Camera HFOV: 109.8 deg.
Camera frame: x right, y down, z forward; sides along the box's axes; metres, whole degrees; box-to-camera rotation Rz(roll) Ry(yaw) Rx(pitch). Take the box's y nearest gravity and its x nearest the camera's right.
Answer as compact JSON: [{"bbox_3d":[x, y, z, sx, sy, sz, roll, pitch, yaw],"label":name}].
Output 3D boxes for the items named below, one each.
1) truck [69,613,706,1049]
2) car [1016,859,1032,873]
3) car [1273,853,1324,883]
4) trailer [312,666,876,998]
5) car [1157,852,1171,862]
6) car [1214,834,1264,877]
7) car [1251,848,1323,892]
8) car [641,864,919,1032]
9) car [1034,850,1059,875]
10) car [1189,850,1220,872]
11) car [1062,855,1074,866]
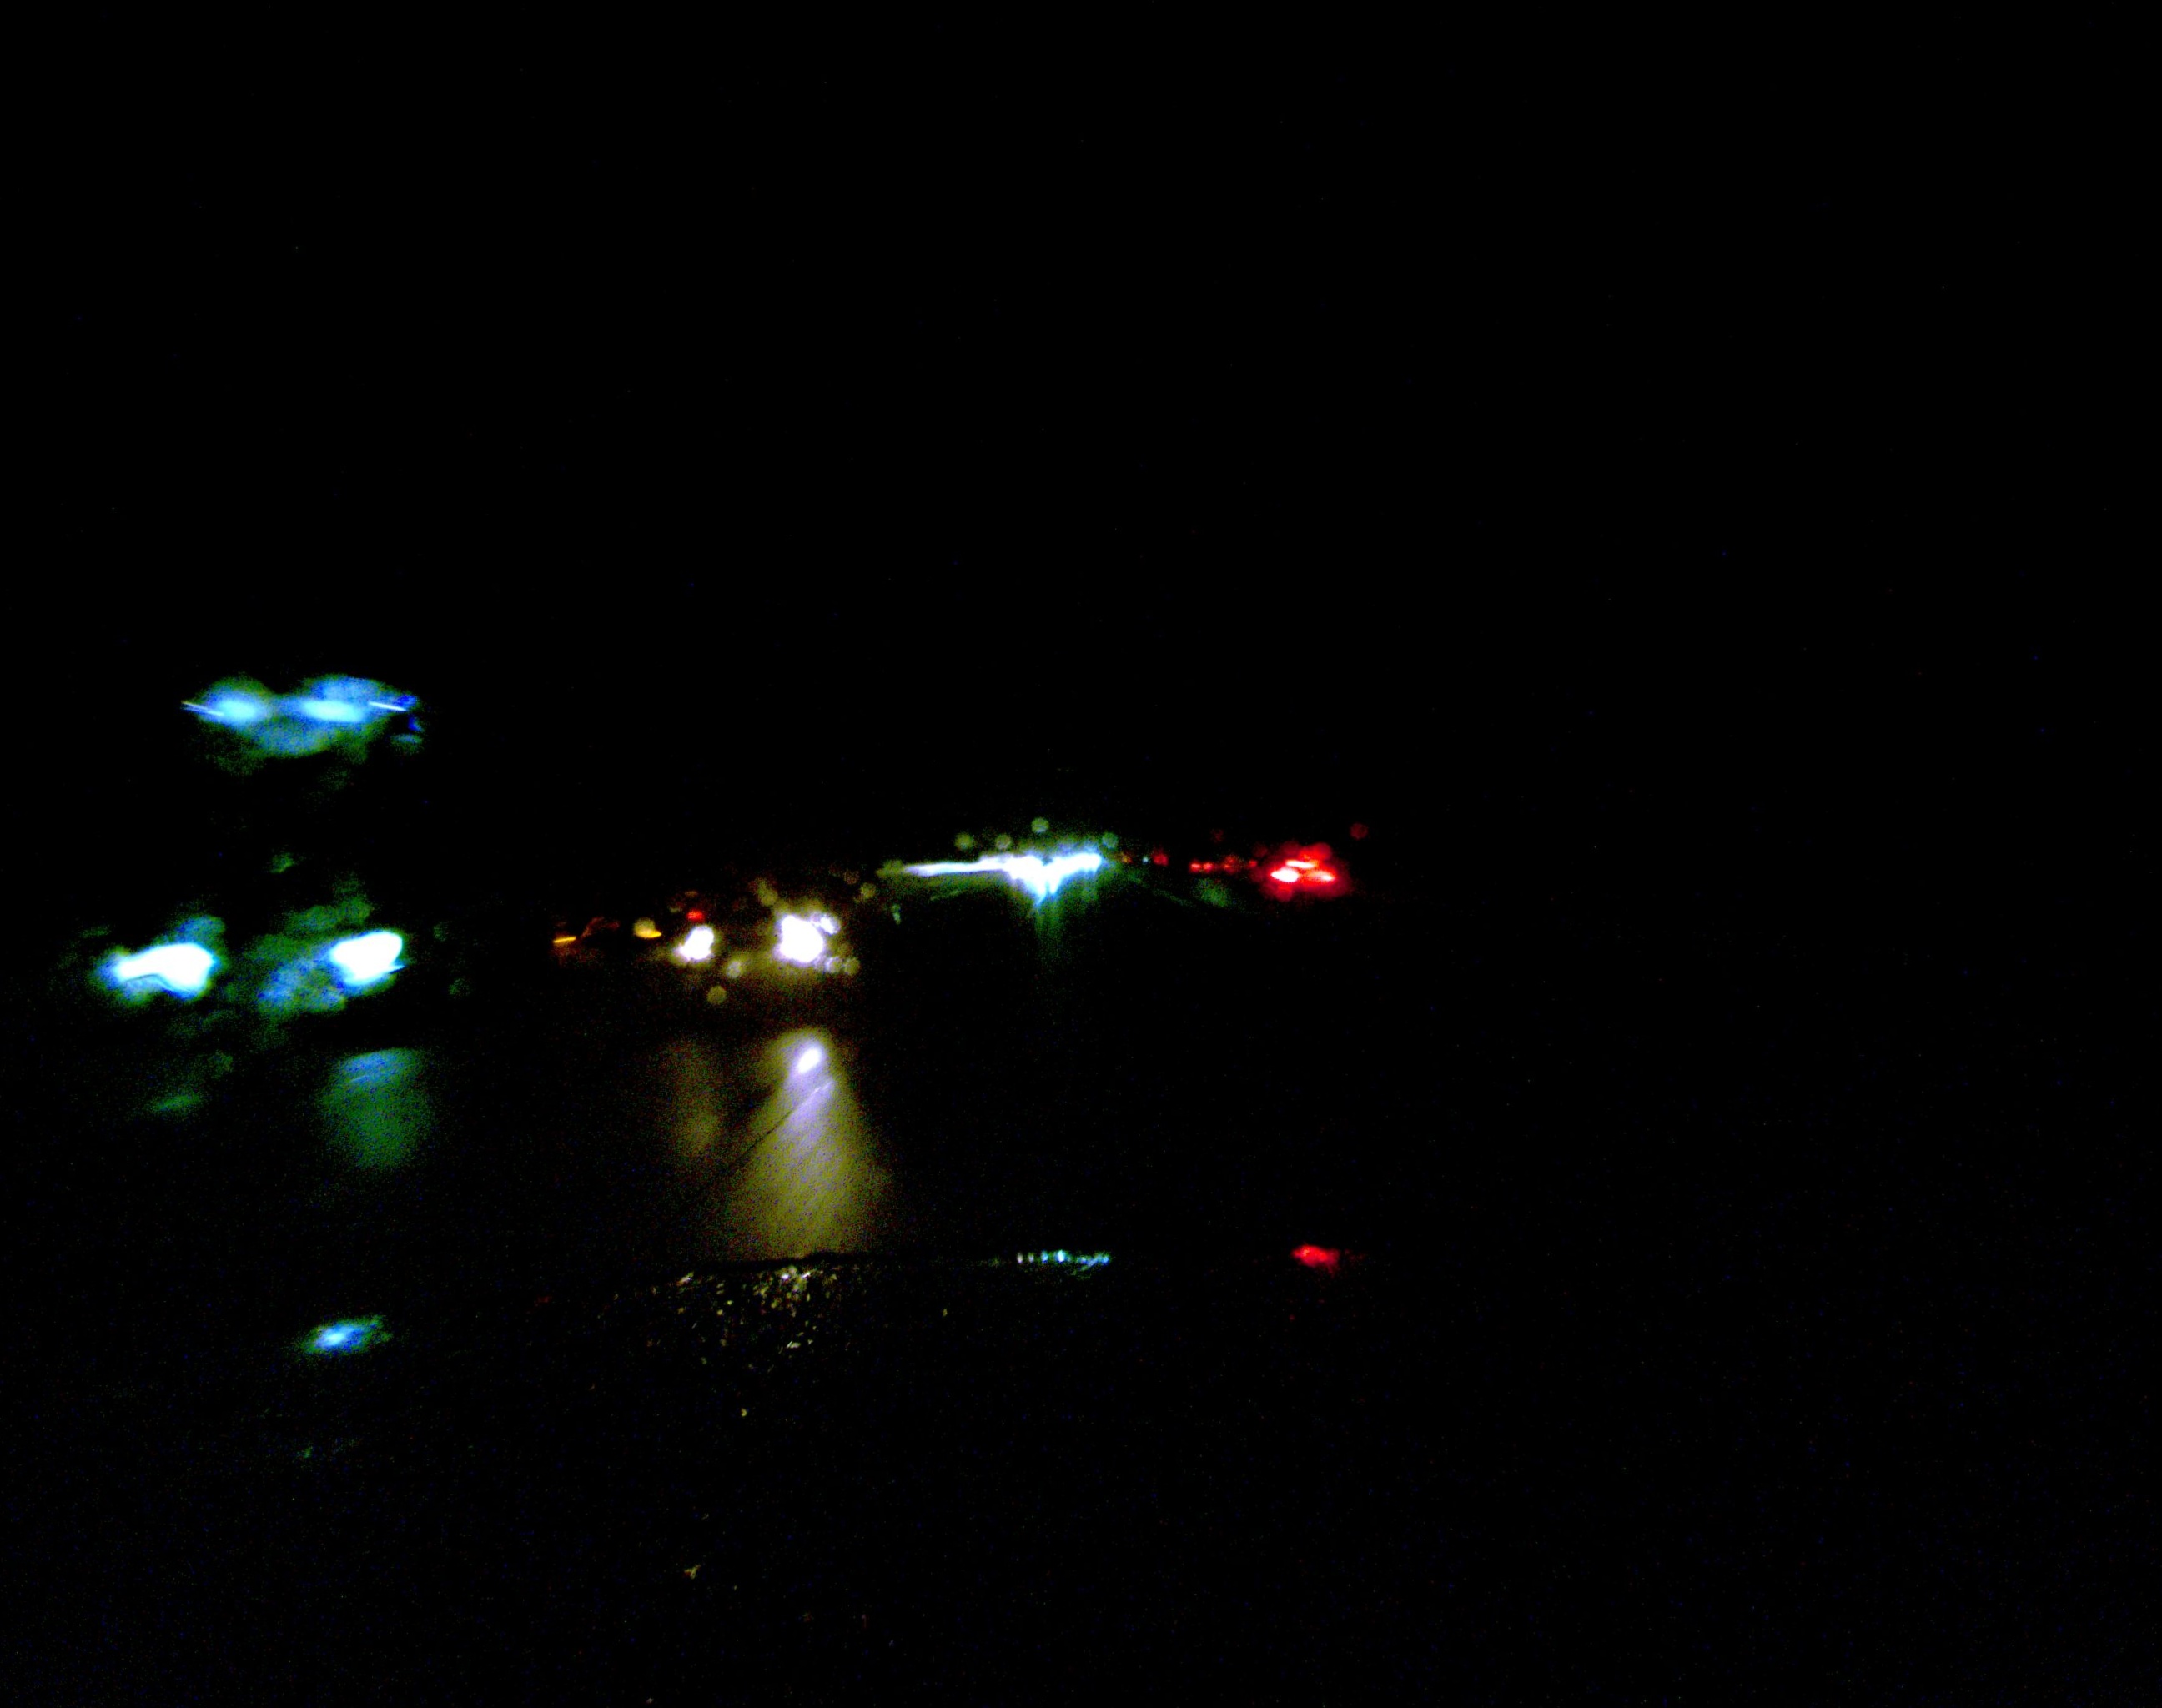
[{"bbox_3d":[-7.981,-0.211,10.138,2.910,4.084,6.030,0,0,0],"label":"truck"},{"bbox_3d":[-6.459,1.340,86.809,1.644,1.494,4.013,-1,0,-2],"label":"car"},{"bbox_3d":[13.325,0.789,46.853,1.921,1.674,4.505,0,1,1],"label":"car"},{"bbox_3d":[-7.955,-0.264,16.610,2.910,4.084,14.487,0,0,0],"label":"trailer"},{"bbox_3d":[14.814,0.521,135.377,1.998,1.653,4.809,0,0,1],"label":"car"},{"bbox_3d":[18.440,0.212,89.541,3.714,4.700,10.598,-2,-1,1],"label":"car"},{"bbox_3d":[8.684,0.624,32.374,1.921,1.674,4.505,0,1,1],"label":"car"},{"bbox_3d":[-3.503,0.971,9.874,1.745,1.566,4.493,-1,0,0],"label":"car"},{"bbox_3d":[-3.017,0.729,66.592,1.999,2.001,3.999,-2,-1,-2],"label":"car"},{"bbox_3d":[9.975,0.505,61.755,1.921,1.674,3.999,0,1,1],"label":"car"},{"bbox_3d":[-2.100,1.066,123.440,1.883,1.653,4.000,-3,-1,-1],"label":"car"}]
